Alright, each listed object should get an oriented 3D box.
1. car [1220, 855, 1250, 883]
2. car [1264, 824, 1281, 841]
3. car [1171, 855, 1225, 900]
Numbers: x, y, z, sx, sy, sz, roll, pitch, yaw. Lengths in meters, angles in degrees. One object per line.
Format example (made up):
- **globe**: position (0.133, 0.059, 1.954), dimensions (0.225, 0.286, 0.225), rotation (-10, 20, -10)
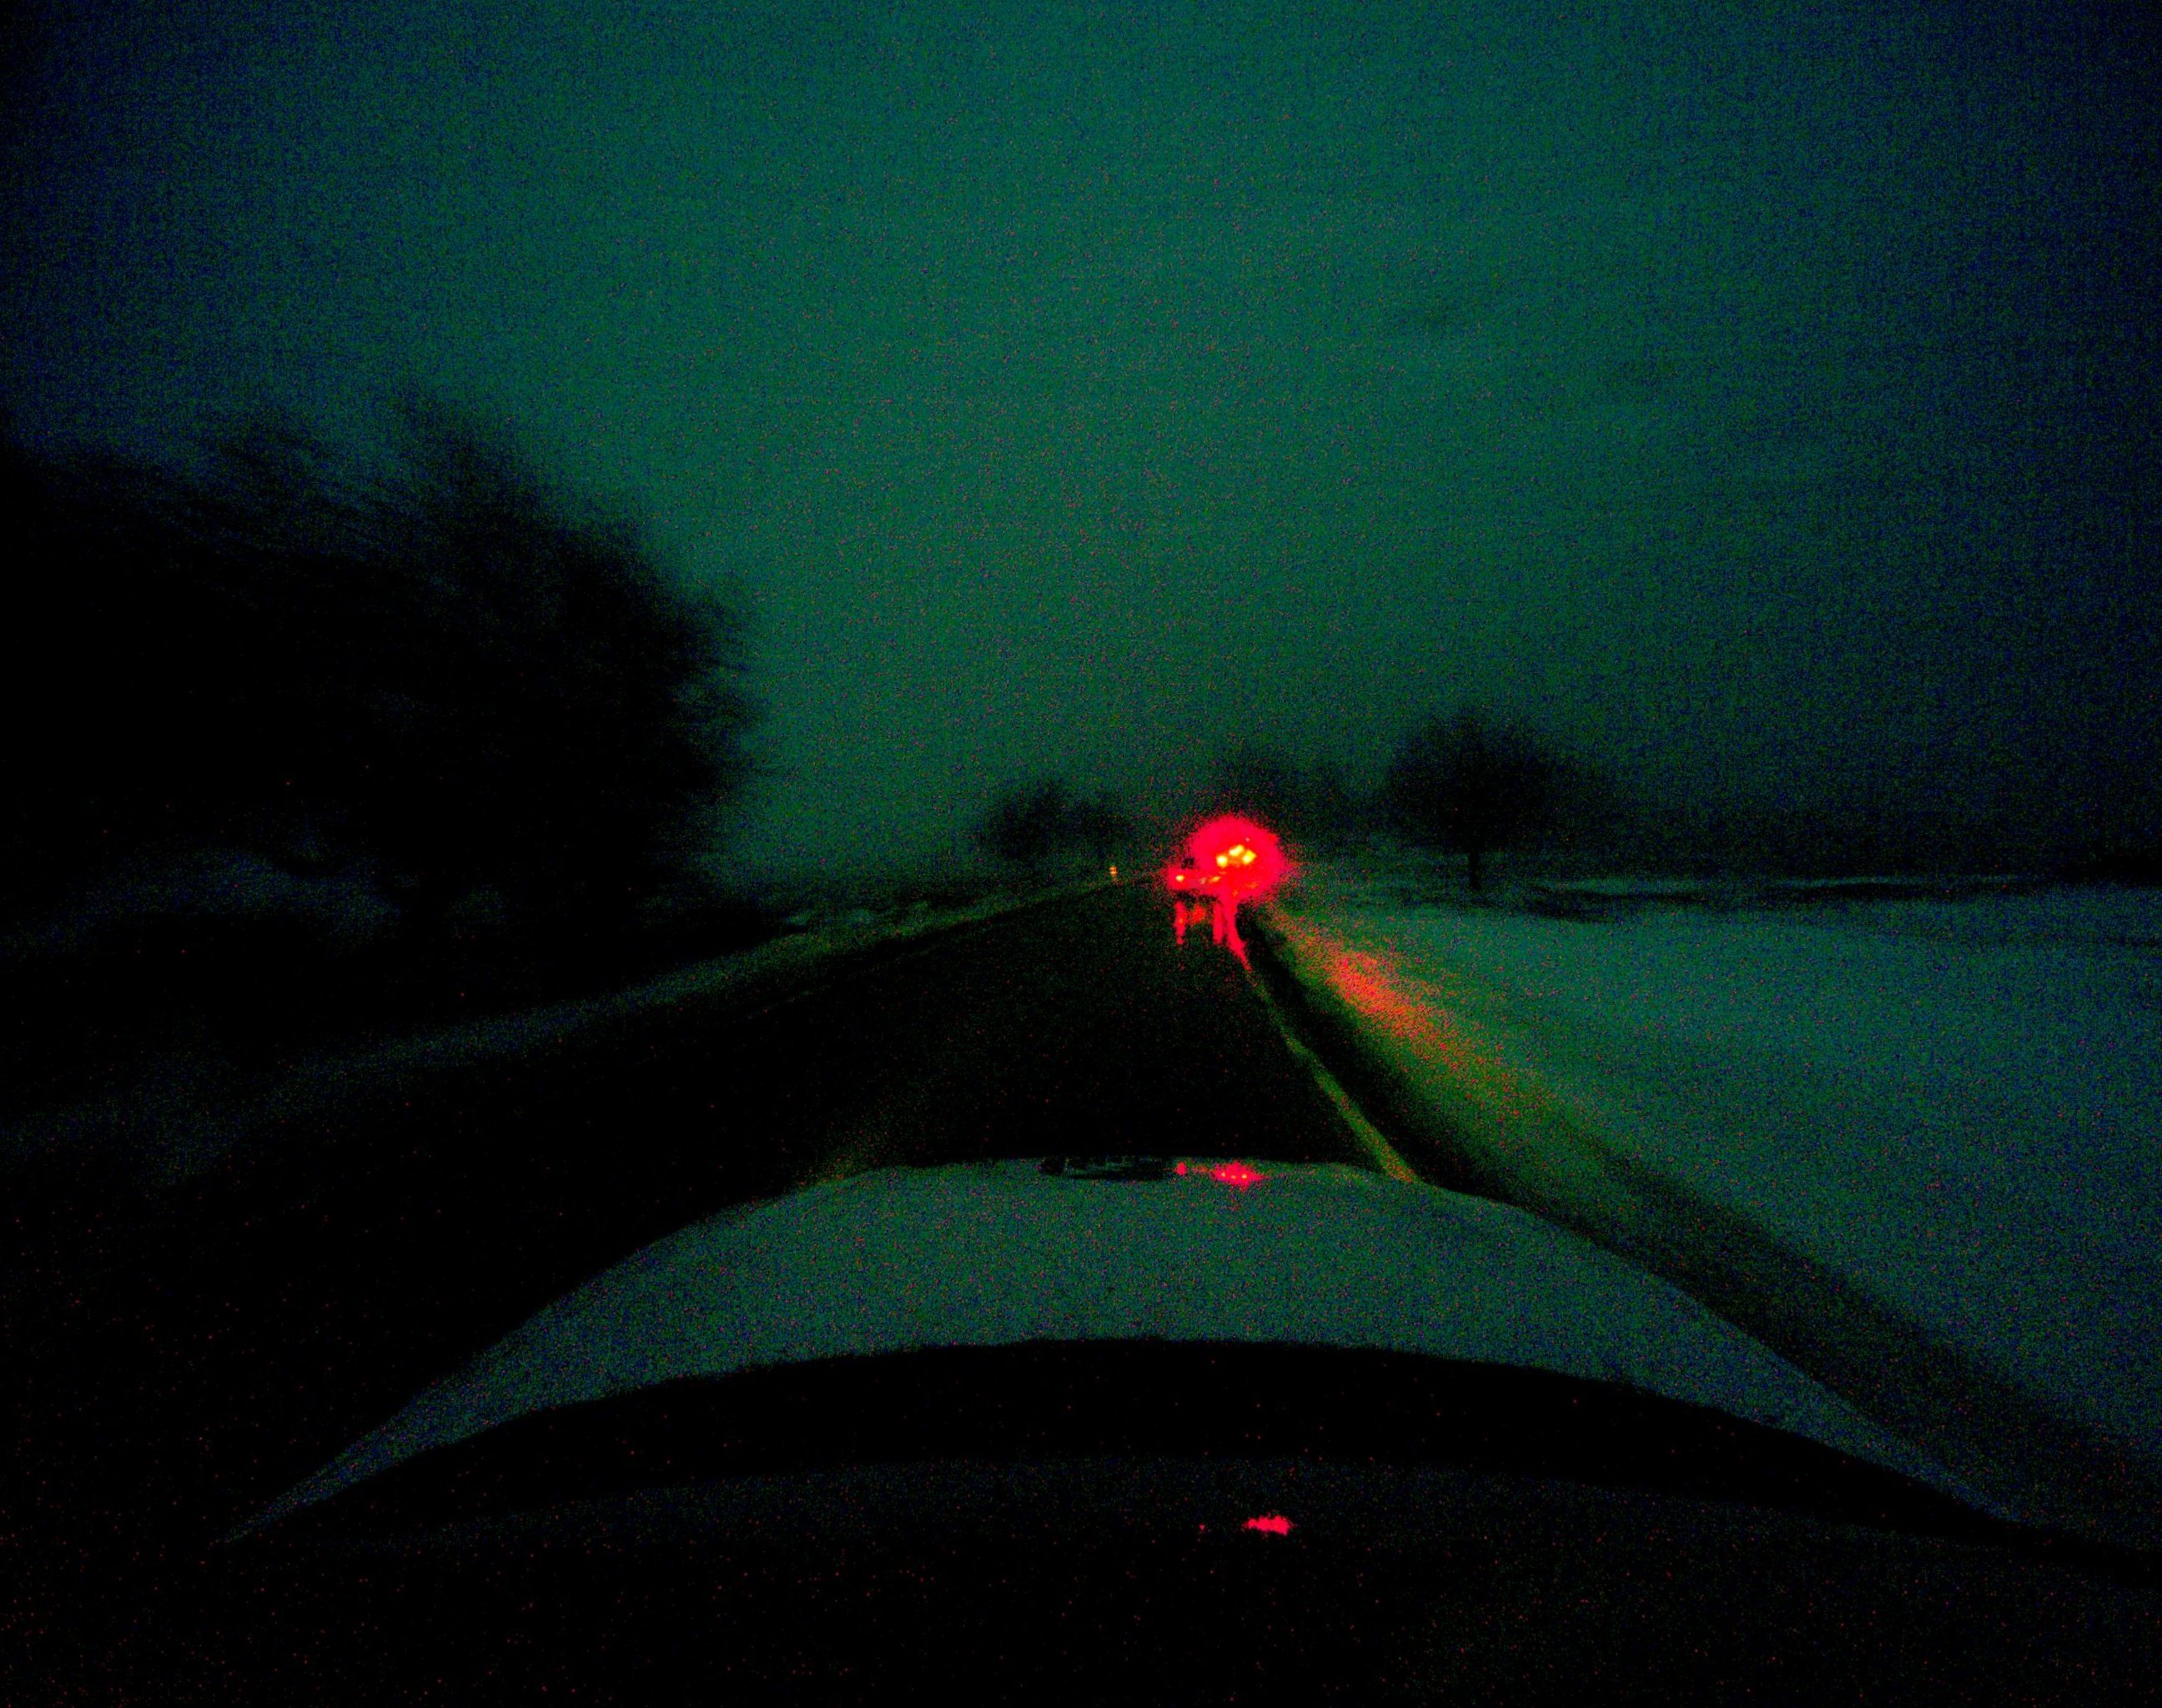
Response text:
- **car**: position (9.061, 0.883, 47.729), dimensions (1.468, 1.508, 3.065), rotation (-2, 0, 15)
- **car**: position (18.649, -2.116, 79.295), dimensions (1.511, 1.508, 3.065), rotation (-2, -1, 15)
- **car**: position (4.250, 0.809, 29.184), dimensions (1.696, 1.463, 4.011), rotation (1, -1, 11)
